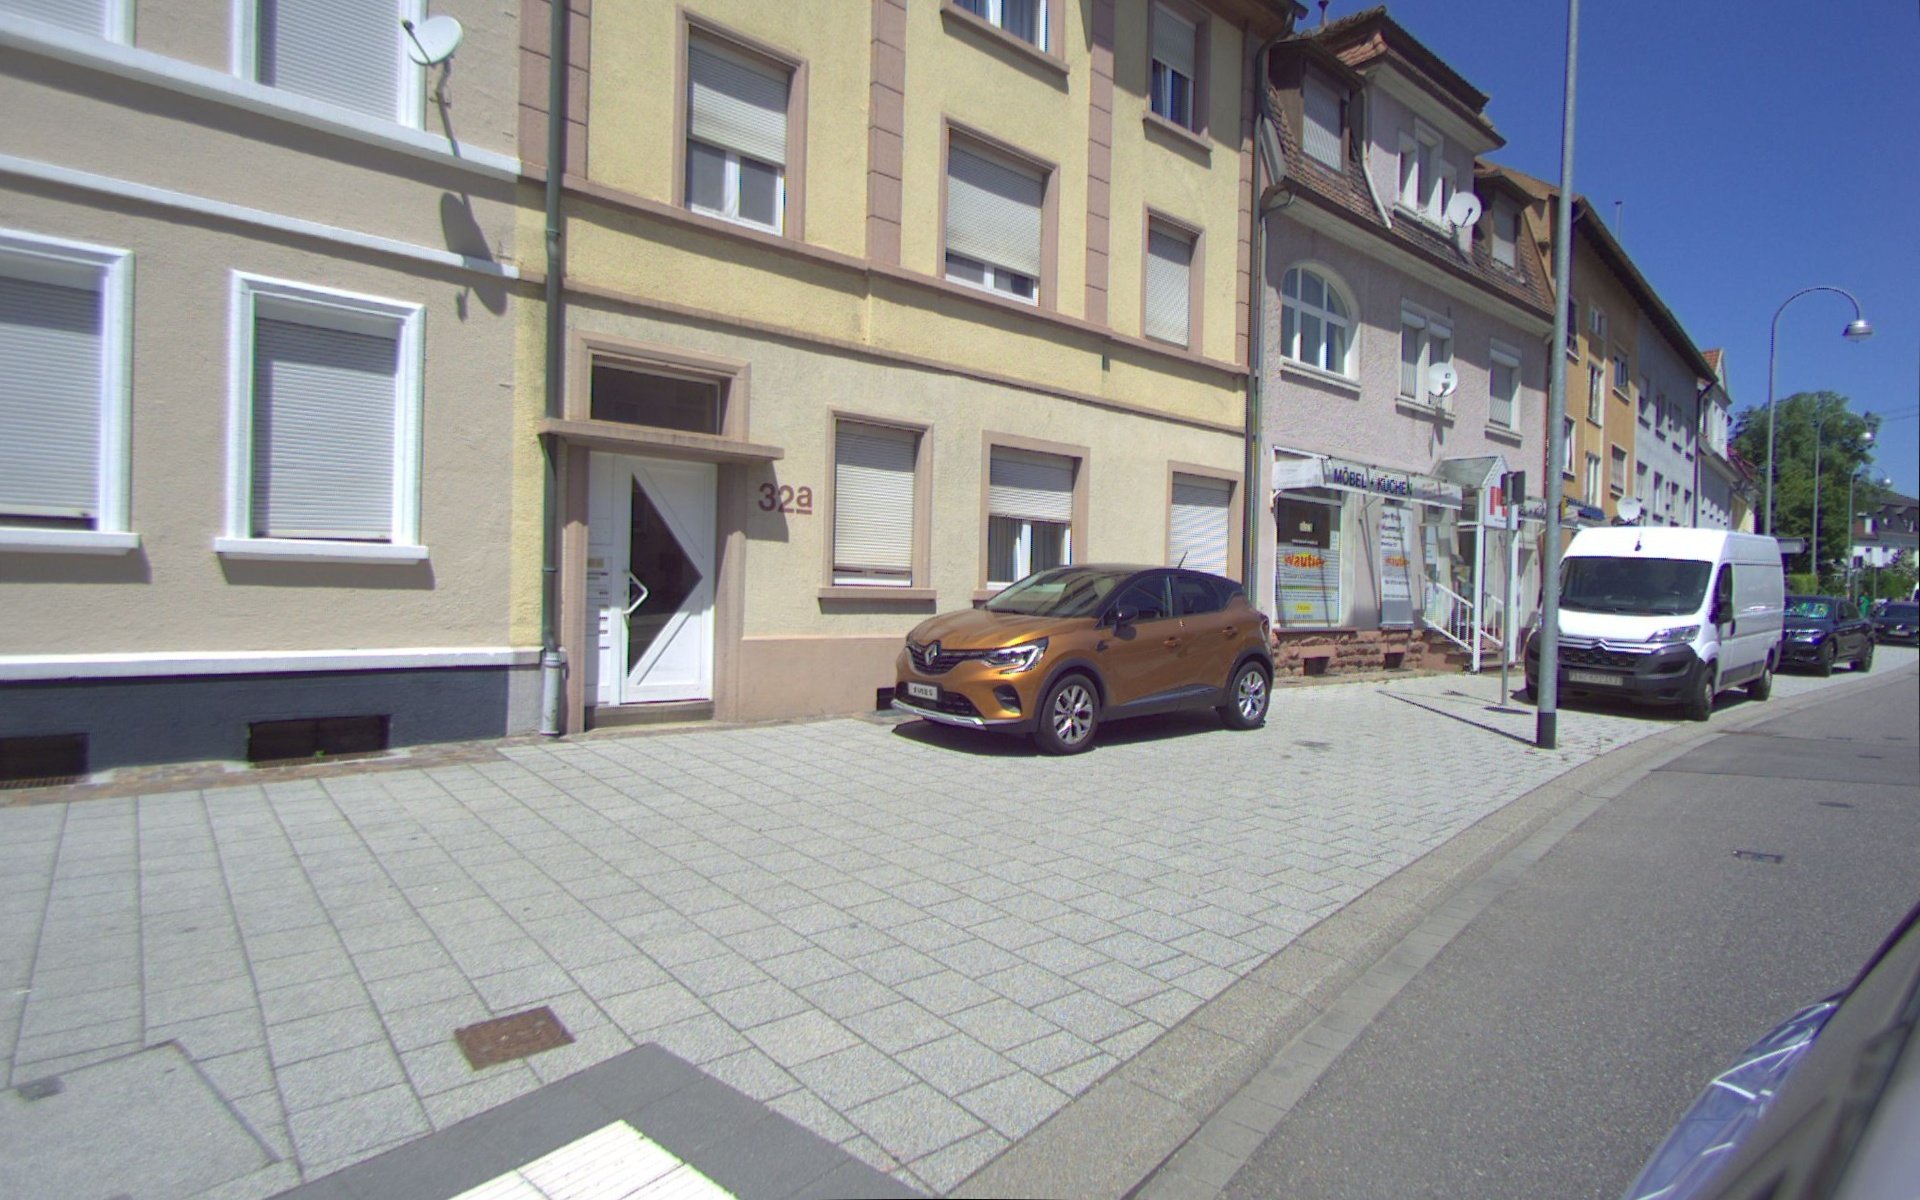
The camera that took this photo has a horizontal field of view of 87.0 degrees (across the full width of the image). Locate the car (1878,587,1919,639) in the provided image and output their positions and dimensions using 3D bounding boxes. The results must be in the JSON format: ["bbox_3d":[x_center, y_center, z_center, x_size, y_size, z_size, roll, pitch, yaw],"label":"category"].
[{"bbox_3d":[33.200,0.476,34.870,3.929,1.653,1.733,1,3,-40],"label":"car"}]

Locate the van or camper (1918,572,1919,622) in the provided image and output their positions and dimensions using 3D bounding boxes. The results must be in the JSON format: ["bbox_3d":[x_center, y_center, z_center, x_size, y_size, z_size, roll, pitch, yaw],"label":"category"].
[{"bbox_3d":[47.129,-0.050,47.852,2.104,2.498,6.092,0,2,38],"label":"van or camper"}]

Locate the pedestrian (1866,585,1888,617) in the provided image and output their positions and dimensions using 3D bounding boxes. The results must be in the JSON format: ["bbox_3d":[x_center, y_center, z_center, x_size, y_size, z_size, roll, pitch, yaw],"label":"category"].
[{"bbox_3d":[50.073,0.058,55.268,0.516,1.727,0.797,5,3,25],"label":"pedestrian"}]

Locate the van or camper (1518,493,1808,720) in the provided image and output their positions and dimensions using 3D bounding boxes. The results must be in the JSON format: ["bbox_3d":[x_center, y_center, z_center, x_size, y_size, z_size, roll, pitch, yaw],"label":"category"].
[{"bbox_3d":[10.189,0.039,14.434,5.668,2.621,2.168,0,2,-43],"label":"van or camper"}]

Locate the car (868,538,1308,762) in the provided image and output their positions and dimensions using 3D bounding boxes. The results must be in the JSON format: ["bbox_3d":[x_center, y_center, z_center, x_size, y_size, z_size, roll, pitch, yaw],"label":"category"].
[{"bbox_3d":[1.381,0.344,9.584,4.287,1.639,1.676,0,3,-42],"label":"car"}]

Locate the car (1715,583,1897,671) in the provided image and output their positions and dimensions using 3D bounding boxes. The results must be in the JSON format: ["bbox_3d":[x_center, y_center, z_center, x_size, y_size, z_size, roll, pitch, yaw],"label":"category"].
[{"bbox_3d":[18.074,0.504,21.576,4.282,1.627,1.902,0,3,-35],"label":"car"}]
